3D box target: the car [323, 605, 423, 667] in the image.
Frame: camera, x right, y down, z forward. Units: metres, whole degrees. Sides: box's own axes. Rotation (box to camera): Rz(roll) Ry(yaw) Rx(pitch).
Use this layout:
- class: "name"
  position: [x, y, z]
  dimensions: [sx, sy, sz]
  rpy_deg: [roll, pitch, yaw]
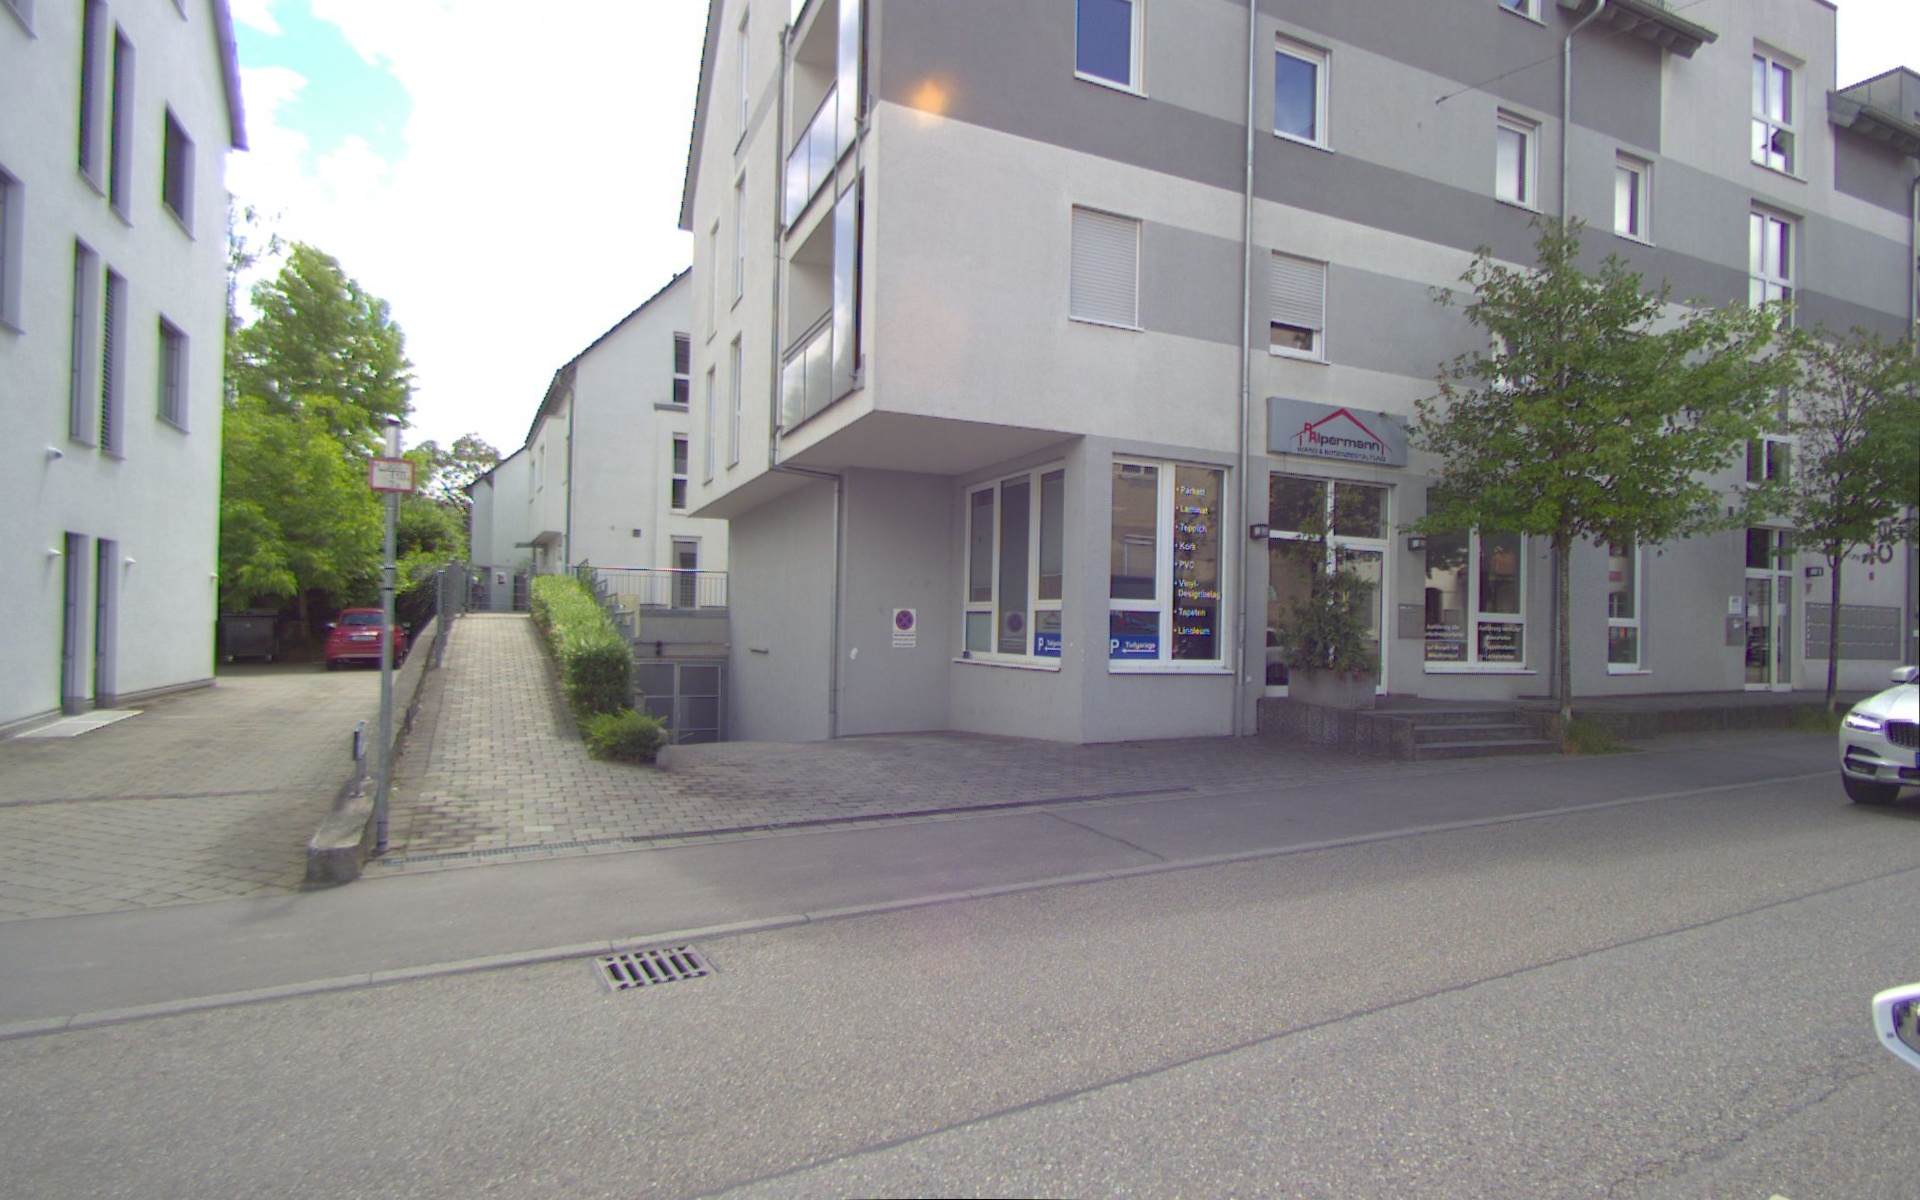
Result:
- class: "car"
  position: [-15.238, 0.900, 26.260]
  dimensions: [1.695, 1.461, 3.978]
  rpy_deg: [2, -1, -23]

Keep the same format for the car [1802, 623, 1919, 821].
- class: "car"
  position: [9.824, 1.025, 9.060]
  dimensions: [4.744, 1.580, 1.889]
  rpy_deg: [2, -4, -30]

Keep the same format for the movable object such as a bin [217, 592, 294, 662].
- class: "movable object such as a bin"
  position: [-18.383, 0.702, 26.255]
  dimensions: [1.491, 1.753, 1.078]
  rpy_deg: [2, 0, -31]

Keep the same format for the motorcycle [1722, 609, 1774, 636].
- class: "motorcycle"
  position: [31.538, 0.911, 40.207]
  dimensions: [2.320, 1.018, 1.191]
  rpy_deg: [2, 0, -41]

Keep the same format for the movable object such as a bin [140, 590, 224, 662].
- class: "movable object such as a bin"
  position: [-19.693, 0.650, 25.477]
  dimensions: [1.491, 1.753, 1.078]
  rpy_deg: [2, 0, -31]
